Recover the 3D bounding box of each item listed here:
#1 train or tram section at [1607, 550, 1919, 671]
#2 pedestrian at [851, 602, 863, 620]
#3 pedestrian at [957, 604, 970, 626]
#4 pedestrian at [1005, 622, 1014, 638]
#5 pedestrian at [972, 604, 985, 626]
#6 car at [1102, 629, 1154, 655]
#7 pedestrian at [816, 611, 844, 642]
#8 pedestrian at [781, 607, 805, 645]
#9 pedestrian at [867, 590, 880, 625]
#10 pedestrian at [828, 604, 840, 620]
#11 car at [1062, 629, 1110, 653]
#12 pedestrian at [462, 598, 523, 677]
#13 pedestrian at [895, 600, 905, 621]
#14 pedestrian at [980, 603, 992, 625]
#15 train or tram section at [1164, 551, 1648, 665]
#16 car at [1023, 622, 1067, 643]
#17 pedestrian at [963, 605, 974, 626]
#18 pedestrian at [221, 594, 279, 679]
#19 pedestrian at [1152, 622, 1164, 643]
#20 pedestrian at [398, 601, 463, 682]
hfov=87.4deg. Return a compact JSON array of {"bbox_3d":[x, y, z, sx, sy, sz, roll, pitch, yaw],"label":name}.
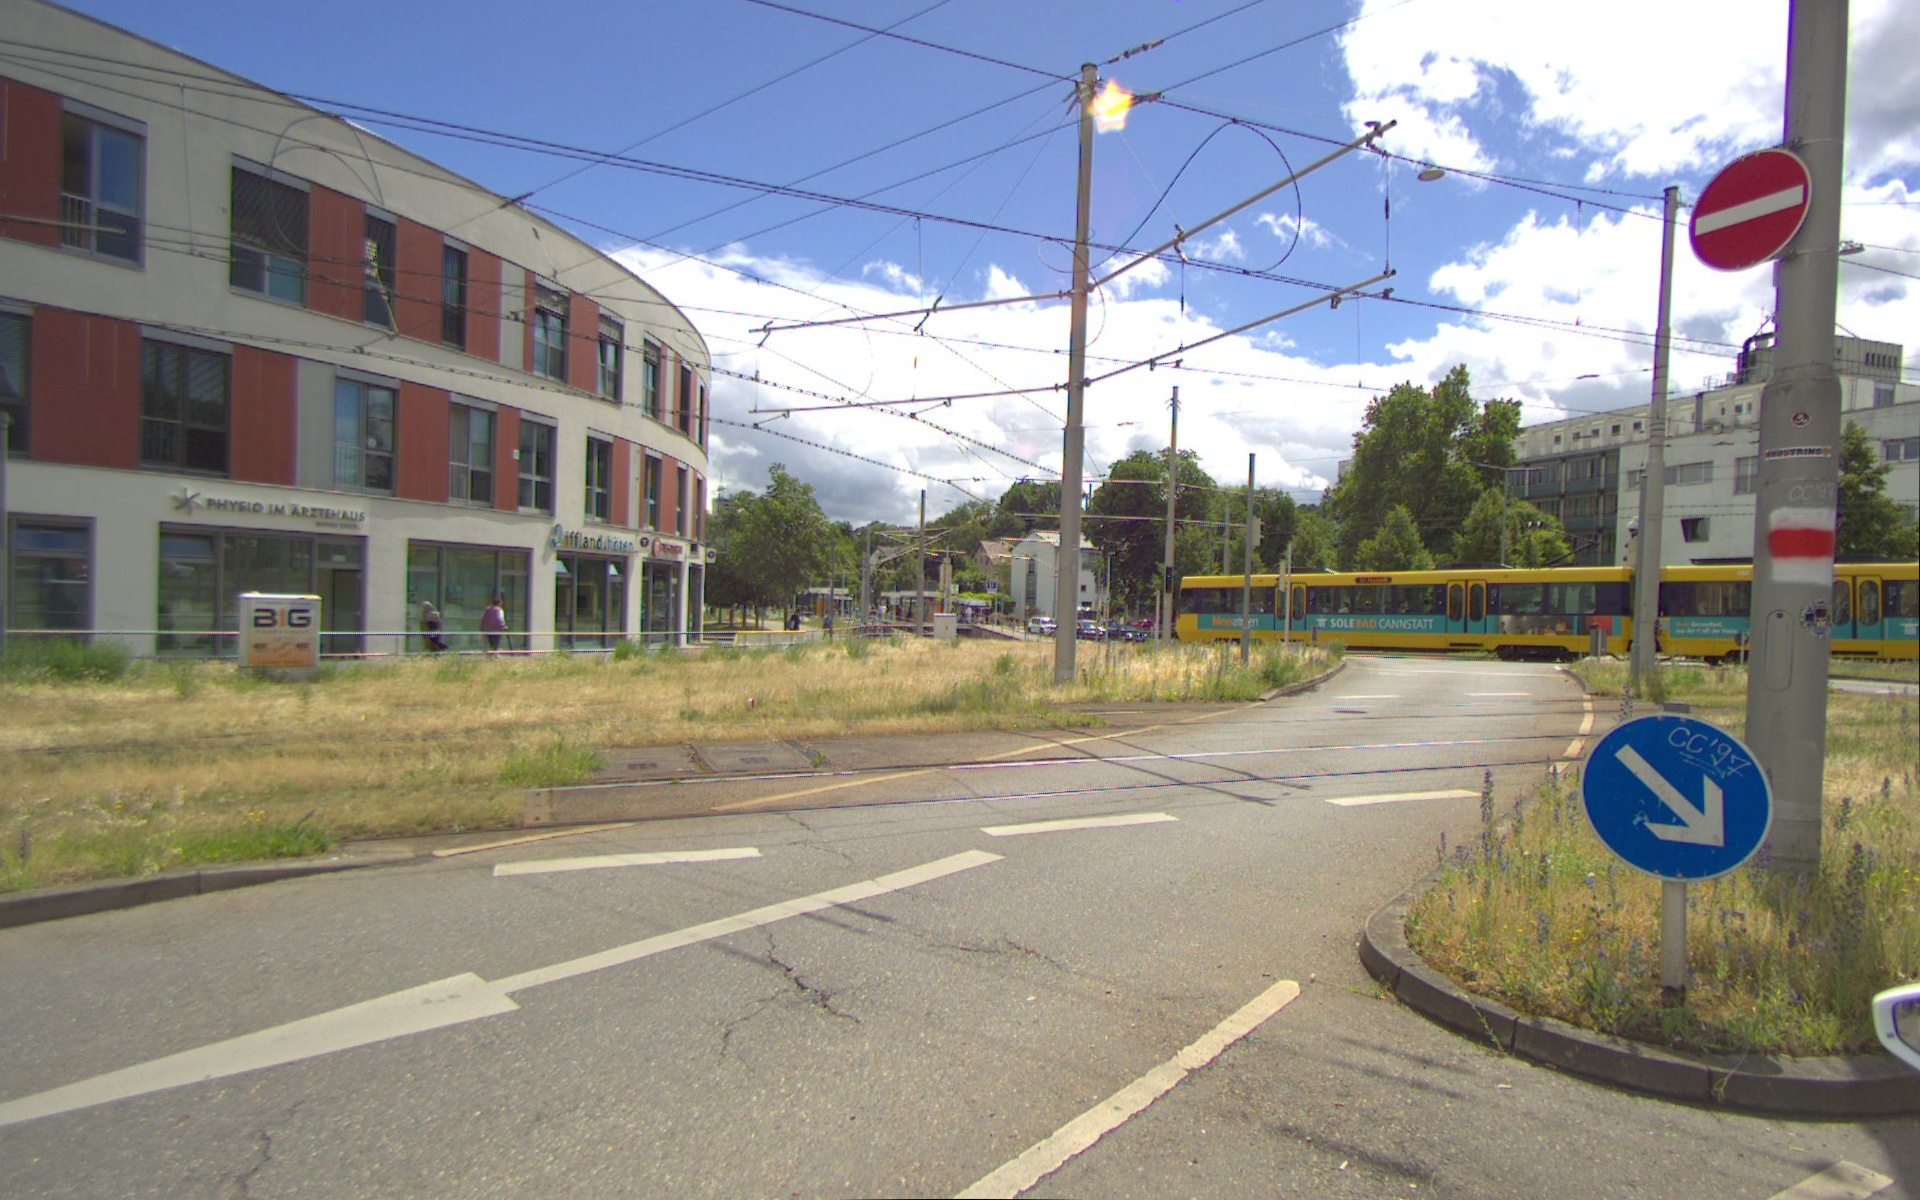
[{"bbox_3d":[33.220,0.425,32.953,19.756,3.880,3.761,1,-1,22],"label":"train or tram section"},{"bbox_3d":[-12.185,1.296,118.799,1.241,2.040,1.121,2,-1,-19],"label":"pedestrian"},{"bbox_3d":[0.294,1.197,81.755,0.824,1.777,0.795,1,0,-16],"label":"pedestrian"},{"bbox_3d":[5.753,3.478,116.226,0.818,1.891,0.817,1,0,-16],"label":"pedestrian"},{"bbox_3d":[1.468,1.218,81.045,0.824,1.755,0.795,1,0,-16],"label":"pedestrian"},{"bbox_3d":[12.343,3.064,74.049,1.991,1.814,4.222,2,-1,-18],"label":"car"},{"bbox_3d":[-6.968,1.417,53.830,1.018,1.646,0.982,1,-2,33],"label":"pedestrian"},{"bbox_3d":[-7.473,1.158,44.956,0.847,1.646,0.733,1,-1,7],"label":"pedestrian"},{"bbox_3d":[-14.966,1.369,173.208,1.964,5.998,2.368,2,-1,-9],"label":"pedestrian"},{"bbox_3d":[-16.571,1.549,131.908,1.241,2.040,1.121,2,-1,-19],"label":"pedestrian"},{"bbox_3d":[9.261,2.987,74.037,1.889,1.672,4.238,2,-2,-18],"label":"car"},{"bbox_3d":[-12.212,0.973,26.234,0.849,1.994,1.104,1,-1,30],"label":"pedestrian"},{"bbox_3d":[-6.030,1.052,100.791,0.807,2.040,0.771,2,-1,-15],"label":"pedestrian"},{"bbox_3d":[2.076,1.113,79.675,0.824,1.714,0.616,1,0,-16],"label":"pedestrian"},{"bbox_3d":[17.823,0.344,42.790,18.627,3.970,3.741,0,-2,43],"label":"train or tram section"},{"bbox_3d":[6.783,2.583,80.358,1.908,1.575,4.474,2,-2,-18],"label":"car"},{"bbox_3d":[0.713,1.263,82.486,0.744,1.707,0.671,1,0,-16],"label":"pedestrian"},{"bbox_3d":[-13.704,0.690,19.381,0.723,1.601,0.689,0,-1,35],"label":"pedestrian"},{"bbox_3d":[18.346,3.022,93.013,0.818,1.891,0.817,1,0,-16],"label":"pedestrian"},{"bbox_3d":[-13.322,1.038,25.311,0.849,1.994,1.114,1,-1,29],"label":"pedestrian"}]
